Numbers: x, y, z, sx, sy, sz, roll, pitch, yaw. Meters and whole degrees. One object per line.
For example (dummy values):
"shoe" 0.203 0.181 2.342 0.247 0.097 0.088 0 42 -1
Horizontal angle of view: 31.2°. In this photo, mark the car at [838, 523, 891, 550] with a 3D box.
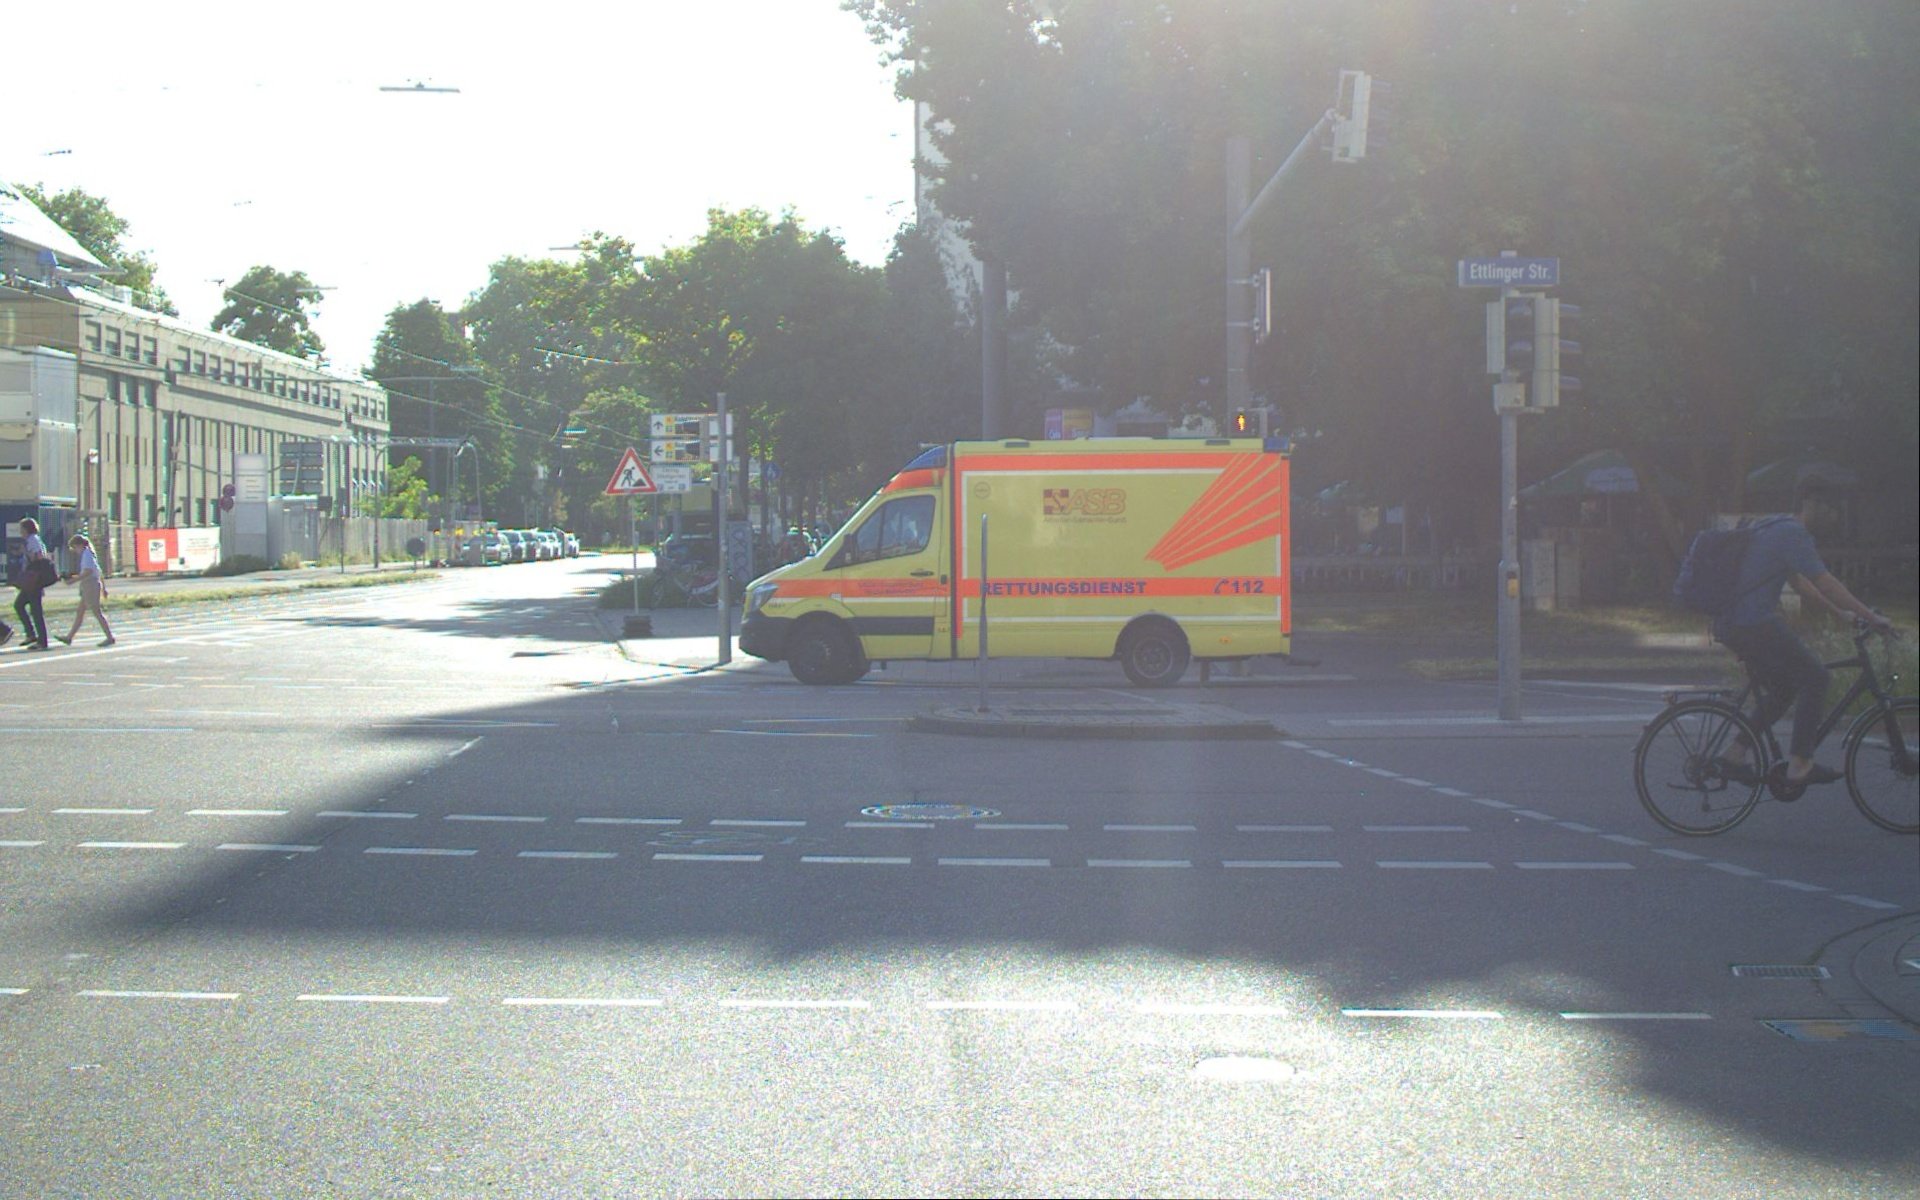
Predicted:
"car" -5.945 -3.944 213.428 3.214 1.583 1.446 1 0 -4

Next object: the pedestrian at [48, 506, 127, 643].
"pedestrian" -11.507 -0.338 45.360 0.870 1.797 0.532 0 1 5

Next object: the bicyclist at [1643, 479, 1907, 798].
"bicyclist" 4.195 0.179 17.755 1.123 1.589 0.767 -1 3 -7

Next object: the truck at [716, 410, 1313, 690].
"truck" 0.688 -0.560 38.563 6.469 3.005 2.725 0 1 5

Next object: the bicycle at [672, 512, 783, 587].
"bicycle" -5.495 -1.198 81.442 2.547 1.737 1.037 1 0 0

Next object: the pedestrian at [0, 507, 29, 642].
"pedestrian" -12.920 -0.341 45.979 0.739 1.797 0.532 0 1 5

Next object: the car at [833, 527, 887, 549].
"car" -6.132 -3.813 211.215 3.217 1.259 1.373 1 0 0

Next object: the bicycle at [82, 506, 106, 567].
"bicycle" -32.762 -2.390 130.041 0.571 2.288 1.422 0 1 -2

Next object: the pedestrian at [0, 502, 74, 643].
"pedestrian" -11.966 -0.352 44.297 0.870 1.797 0.664 0 1 5

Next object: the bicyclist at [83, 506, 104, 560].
"bicyclist" -32.768 -2.527 130.015 0.571 2.017 0.762 0 1 -2

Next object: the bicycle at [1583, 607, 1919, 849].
"bicycle" 4.246 0.646 17.774 1.872 1.154 0.767 -1 3 -7

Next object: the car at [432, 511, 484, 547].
"car" -22.811 -3.227 156.310 1.894 1.601 4.501 -1 1 -2
